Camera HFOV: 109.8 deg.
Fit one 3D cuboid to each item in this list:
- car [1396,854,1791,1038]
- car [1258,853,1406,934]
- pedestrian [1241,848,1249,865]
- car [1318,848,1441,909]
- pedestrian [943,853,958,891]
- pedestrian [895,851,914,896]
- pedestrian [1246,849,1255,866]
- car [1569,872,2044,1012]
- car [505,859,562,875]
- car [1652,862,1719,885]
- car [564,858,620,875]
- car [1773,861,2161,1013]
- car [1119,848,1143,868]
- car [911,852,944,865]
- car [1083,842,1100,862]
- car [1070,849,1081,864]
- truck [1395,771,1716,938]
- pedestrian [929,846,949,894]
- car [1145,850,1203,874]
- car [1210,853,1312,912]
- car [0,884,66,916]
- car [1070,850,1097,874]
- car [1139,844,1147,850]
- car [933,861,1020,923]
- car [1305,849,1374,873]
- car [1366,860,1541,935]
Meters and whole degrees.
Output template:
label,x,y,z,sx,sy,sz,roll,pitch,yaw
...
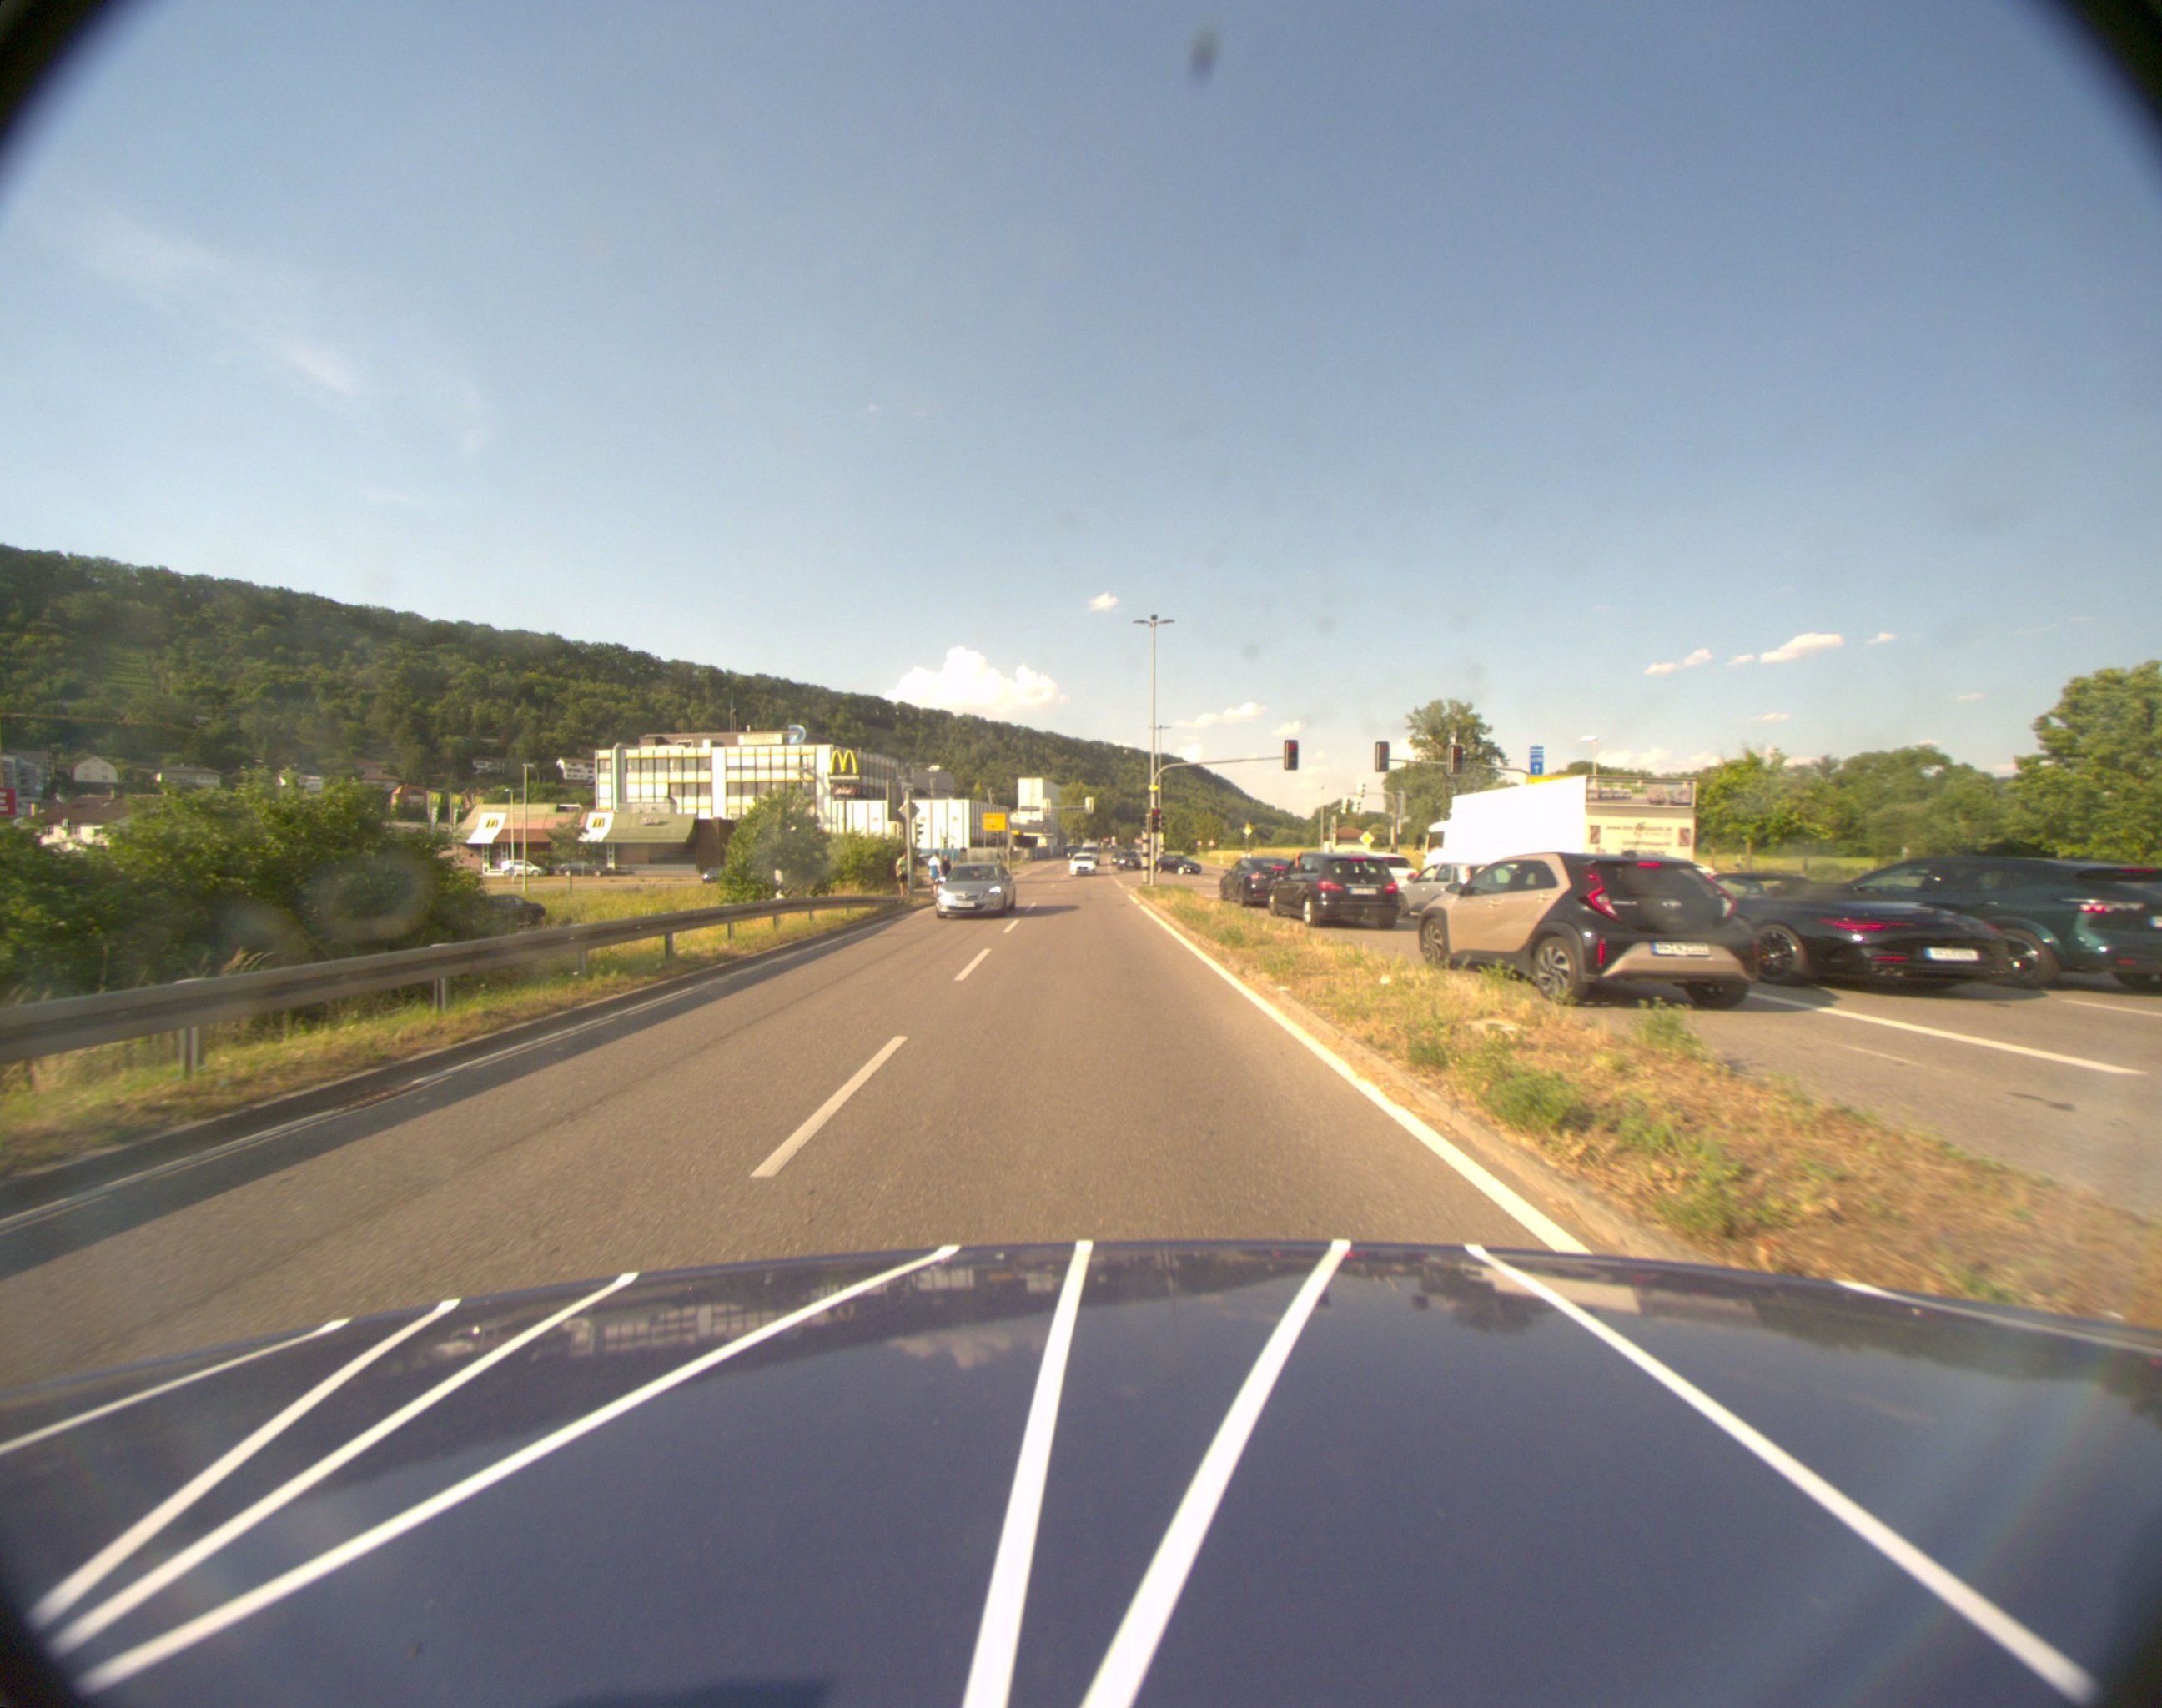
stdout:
label,x,y,z,sx,sy,sz,roll,pitch,yaw
car,5.318,0.807,8.662,1.785,1.511,3.999,1,1,1
car,5.332,0.775,16.785,1.785,1.528,4.572,0,-1,0
pedestrian,16.122,0.266,74.683,0.655,1.597,0.838,-1,2,22
car,9.287,0.695,24.124,1.998,1.669,4.805,0,1,0
pedestrian,-5.679,0.778,33.082,0.573,1.606,0.622,1,2,-4
pedestrian,-6.893,0.749,29.701,0.532,1.740,0.537,3,2,6
pedestrian,16.446,0.325,73.575,0.655,1.597,0.891,-1,2,22
car,8.934,0.955,10.144,1.706,1.276,4.818,1,0,0
car,-51.284,1.194,71.161,3.996,1.449,1.860,0,2,2
car,49.402,1.566,62.133,4.256,1.609,1.591,-2,2,1
car,-45.669,1.146,70.967,3.996,1.449,1.861,0,2,3
car,12.088,0.933,10.284,1.767,1.520,3.999,1,1,0
car,4.350,0.334,66.490,1.858,1.565,4.144,-2,1,2
car,-19.843,0.558,98.179,1.872,1.496,3.914,-1,2,37
car,1.203,-0.306,85.834,1.795,2.155,4.588,0,1,-1
car,-0.871,0.359,120.240,1.795,2.155,4.588,0,1,-1
truck,12.775,-0.117,22.259,2.940,3.669,10.497,2,1,2
pedestrian,-5.559,0.615,29.765,0.620,1.872,0.861,0,2,0
car,6.874,0.562,55.853,3.992,1.565,1.620,-2,2,15
car,5.209,0.762,22.661,1.795,1.458,4.927,0,1,-1
car,-58.071,2.539,40.371,1.997,1.516,4.440,-2,1,8
car,0.209,0.559,56.127,1.825,1.552,3.999,-2,1,2
car,15.375,-1.850,189.317,1.712,1.426,4.144,1,1,2
car,-2.735,0.953,20.736,1.690,1.383,3.883,-1,1,2
car,17.474,0.459,51.508,4.184,1.468,1.763,-1,1,6
car,8.674,0.922,18.300,1.706,1.397,5.080,0,1,0
